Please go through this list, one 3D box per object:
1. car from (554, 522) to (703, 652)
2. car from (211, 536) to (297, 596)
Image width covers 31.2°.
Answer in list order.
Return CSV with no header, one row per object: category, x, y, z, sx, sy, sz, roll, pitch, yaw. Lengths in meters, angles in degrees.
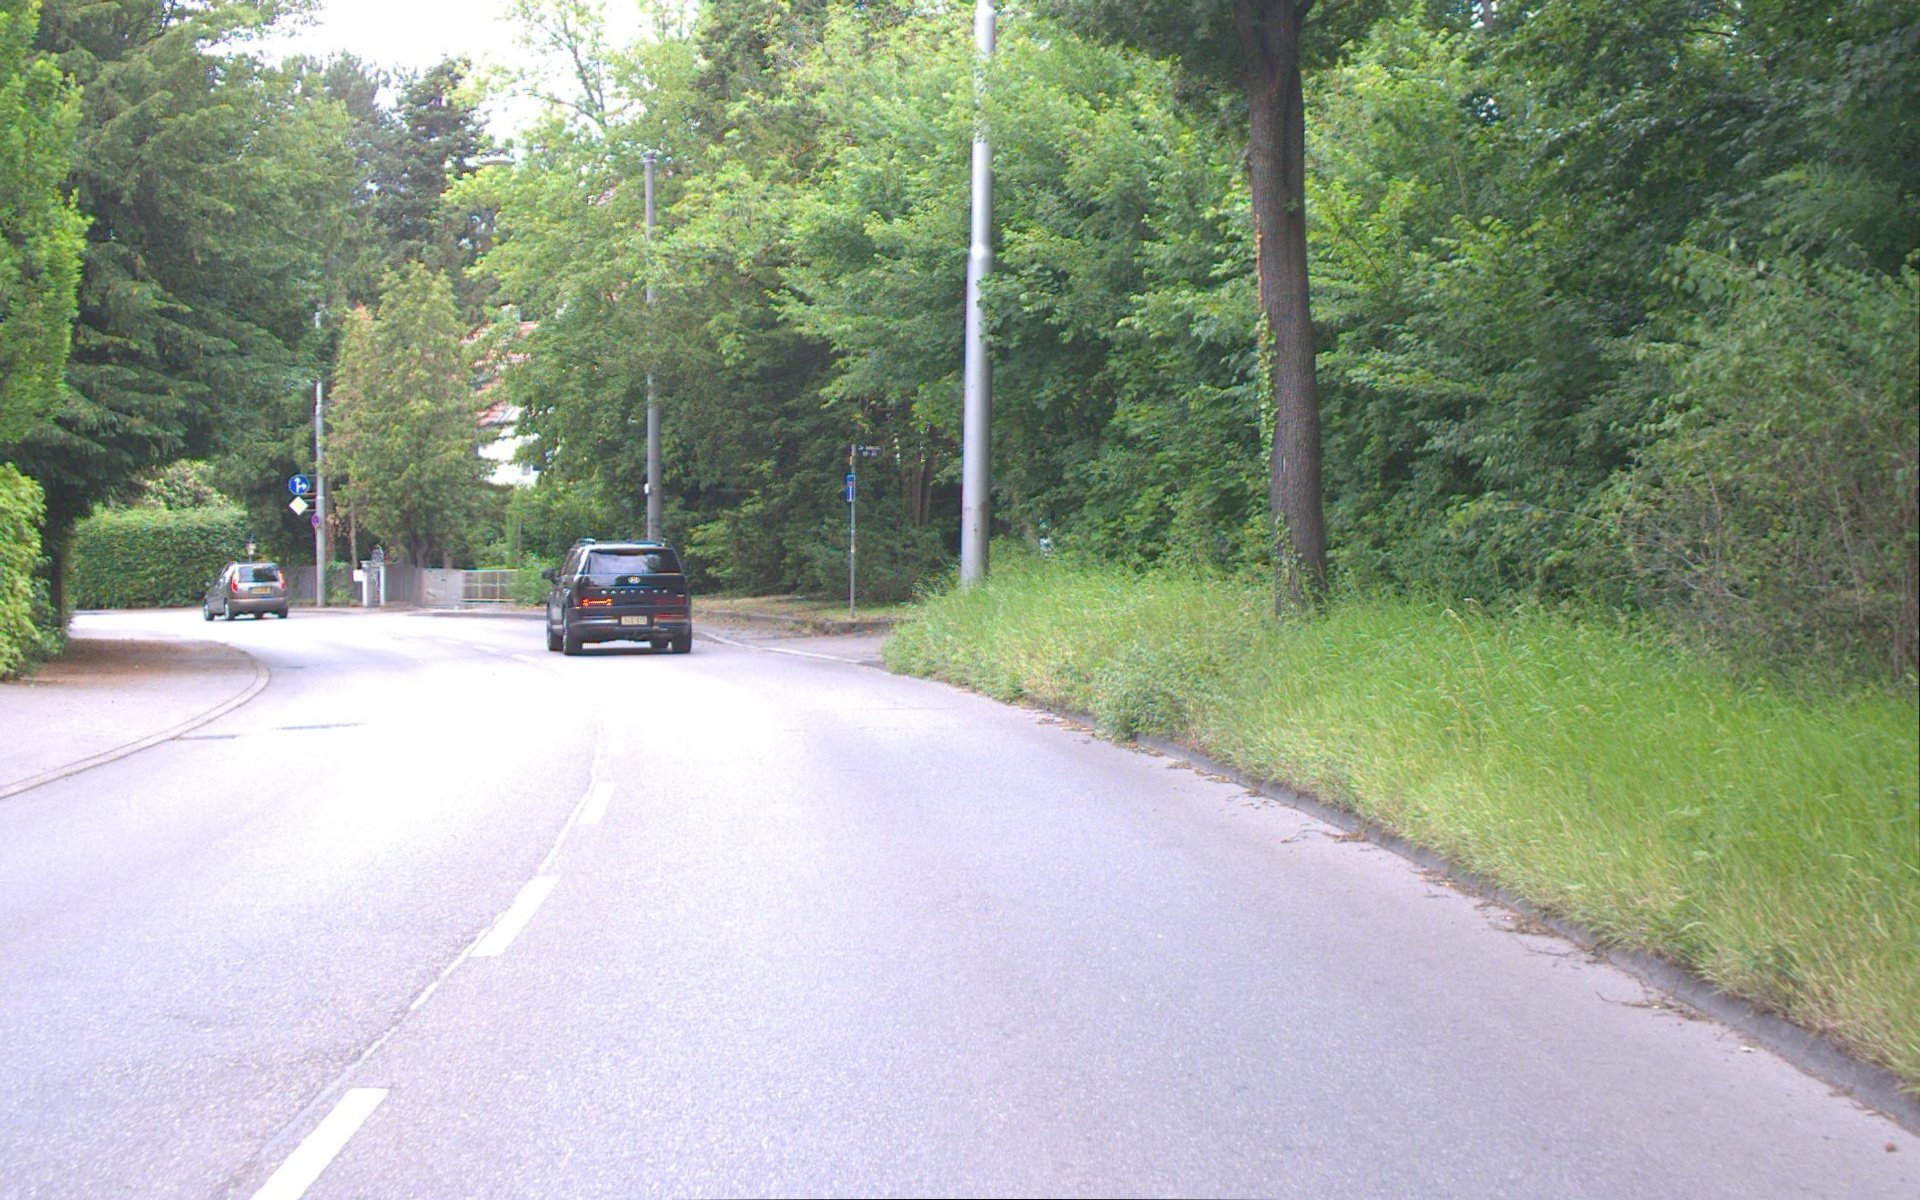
car,-5.120,-0.239,52.686,1.993,1.875,4.001,-1,2,-9
car,-19.942,-0.982,97.065,1.993,1.612,4.001,-1,2,-17
